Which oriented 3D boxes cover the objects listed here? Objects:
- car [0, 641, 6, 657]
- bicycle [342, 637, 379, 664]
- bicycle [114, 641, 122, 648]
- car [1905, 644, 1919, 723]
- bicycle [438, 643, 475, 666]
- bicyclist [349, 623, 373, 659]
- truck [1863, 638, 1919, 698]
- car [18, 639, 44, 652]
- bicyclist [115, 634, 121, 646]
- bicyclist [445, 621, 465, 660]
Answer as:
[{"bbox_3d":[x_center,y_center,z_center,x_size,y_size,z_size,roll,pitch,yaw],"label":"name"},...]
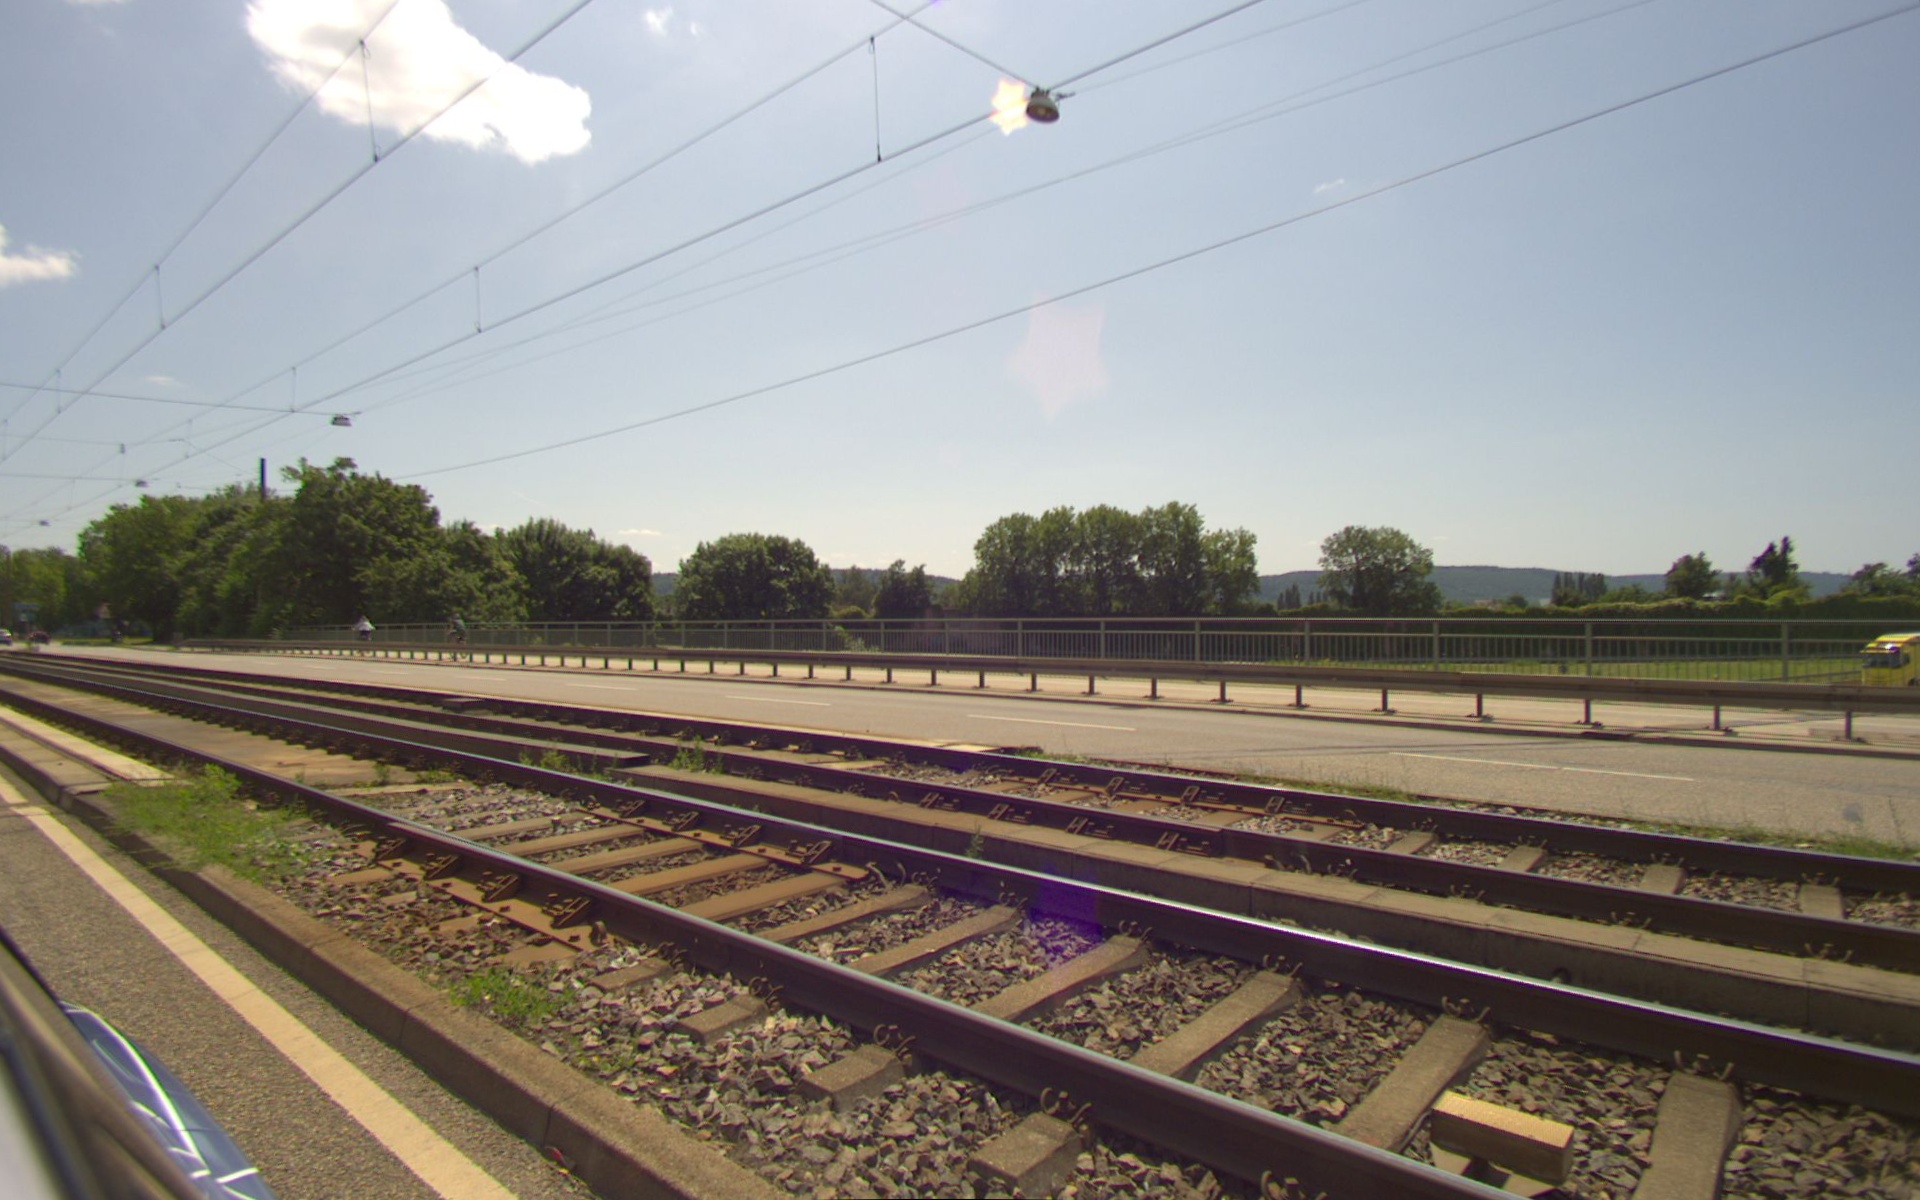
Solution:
[{"bbox_3d":[-89.584,4.482,93.460,4.622,1.431,1.693,-2,-3,41],"label":"car"},{"bbox_3d":[-27.834,2.326,46.983,2.060,1.194,0.848,-2,-1,40],"label":"bicycle"},{"bbox_3d":[-100.286,5.290,120.551,0.579,0.825,2.070,-1,0,-44],"label":"bicycle"},{"bbox_3d":[66.416,4.649,59.000,22.081,4.521,5.034,-1,-1,-13],"label":"car"},{"bbox_3d":[-19.632,2.125,39.456,2.034,0.849,0.517,-2,-1,40],"label":"bicycle"},{"bbox_3d":[-27.802,1.890,46.969,0.837,1.634,0.755,-2,-1,40],"label":"bicyclist"},{"bbox_3d":[70.802,4.548,71.478,16.268,3.790,2.649,-1,-1,-18],"label":"truck"},{"bbox_3d":[-99.261,4.819,108.113,3.927,1.357,1.547,-2,-3,41],"label":"car"},{"bbox_3d":[-100.326,4.786,120.589,0.562,1.378,0.632,-1,0,-44],"label":"bicyclist"},{"bbox_3d":[-19.717,1.574,39.529,0.529,1.509,0.515,-2,-2,40],"label":"bicyclist"}]
